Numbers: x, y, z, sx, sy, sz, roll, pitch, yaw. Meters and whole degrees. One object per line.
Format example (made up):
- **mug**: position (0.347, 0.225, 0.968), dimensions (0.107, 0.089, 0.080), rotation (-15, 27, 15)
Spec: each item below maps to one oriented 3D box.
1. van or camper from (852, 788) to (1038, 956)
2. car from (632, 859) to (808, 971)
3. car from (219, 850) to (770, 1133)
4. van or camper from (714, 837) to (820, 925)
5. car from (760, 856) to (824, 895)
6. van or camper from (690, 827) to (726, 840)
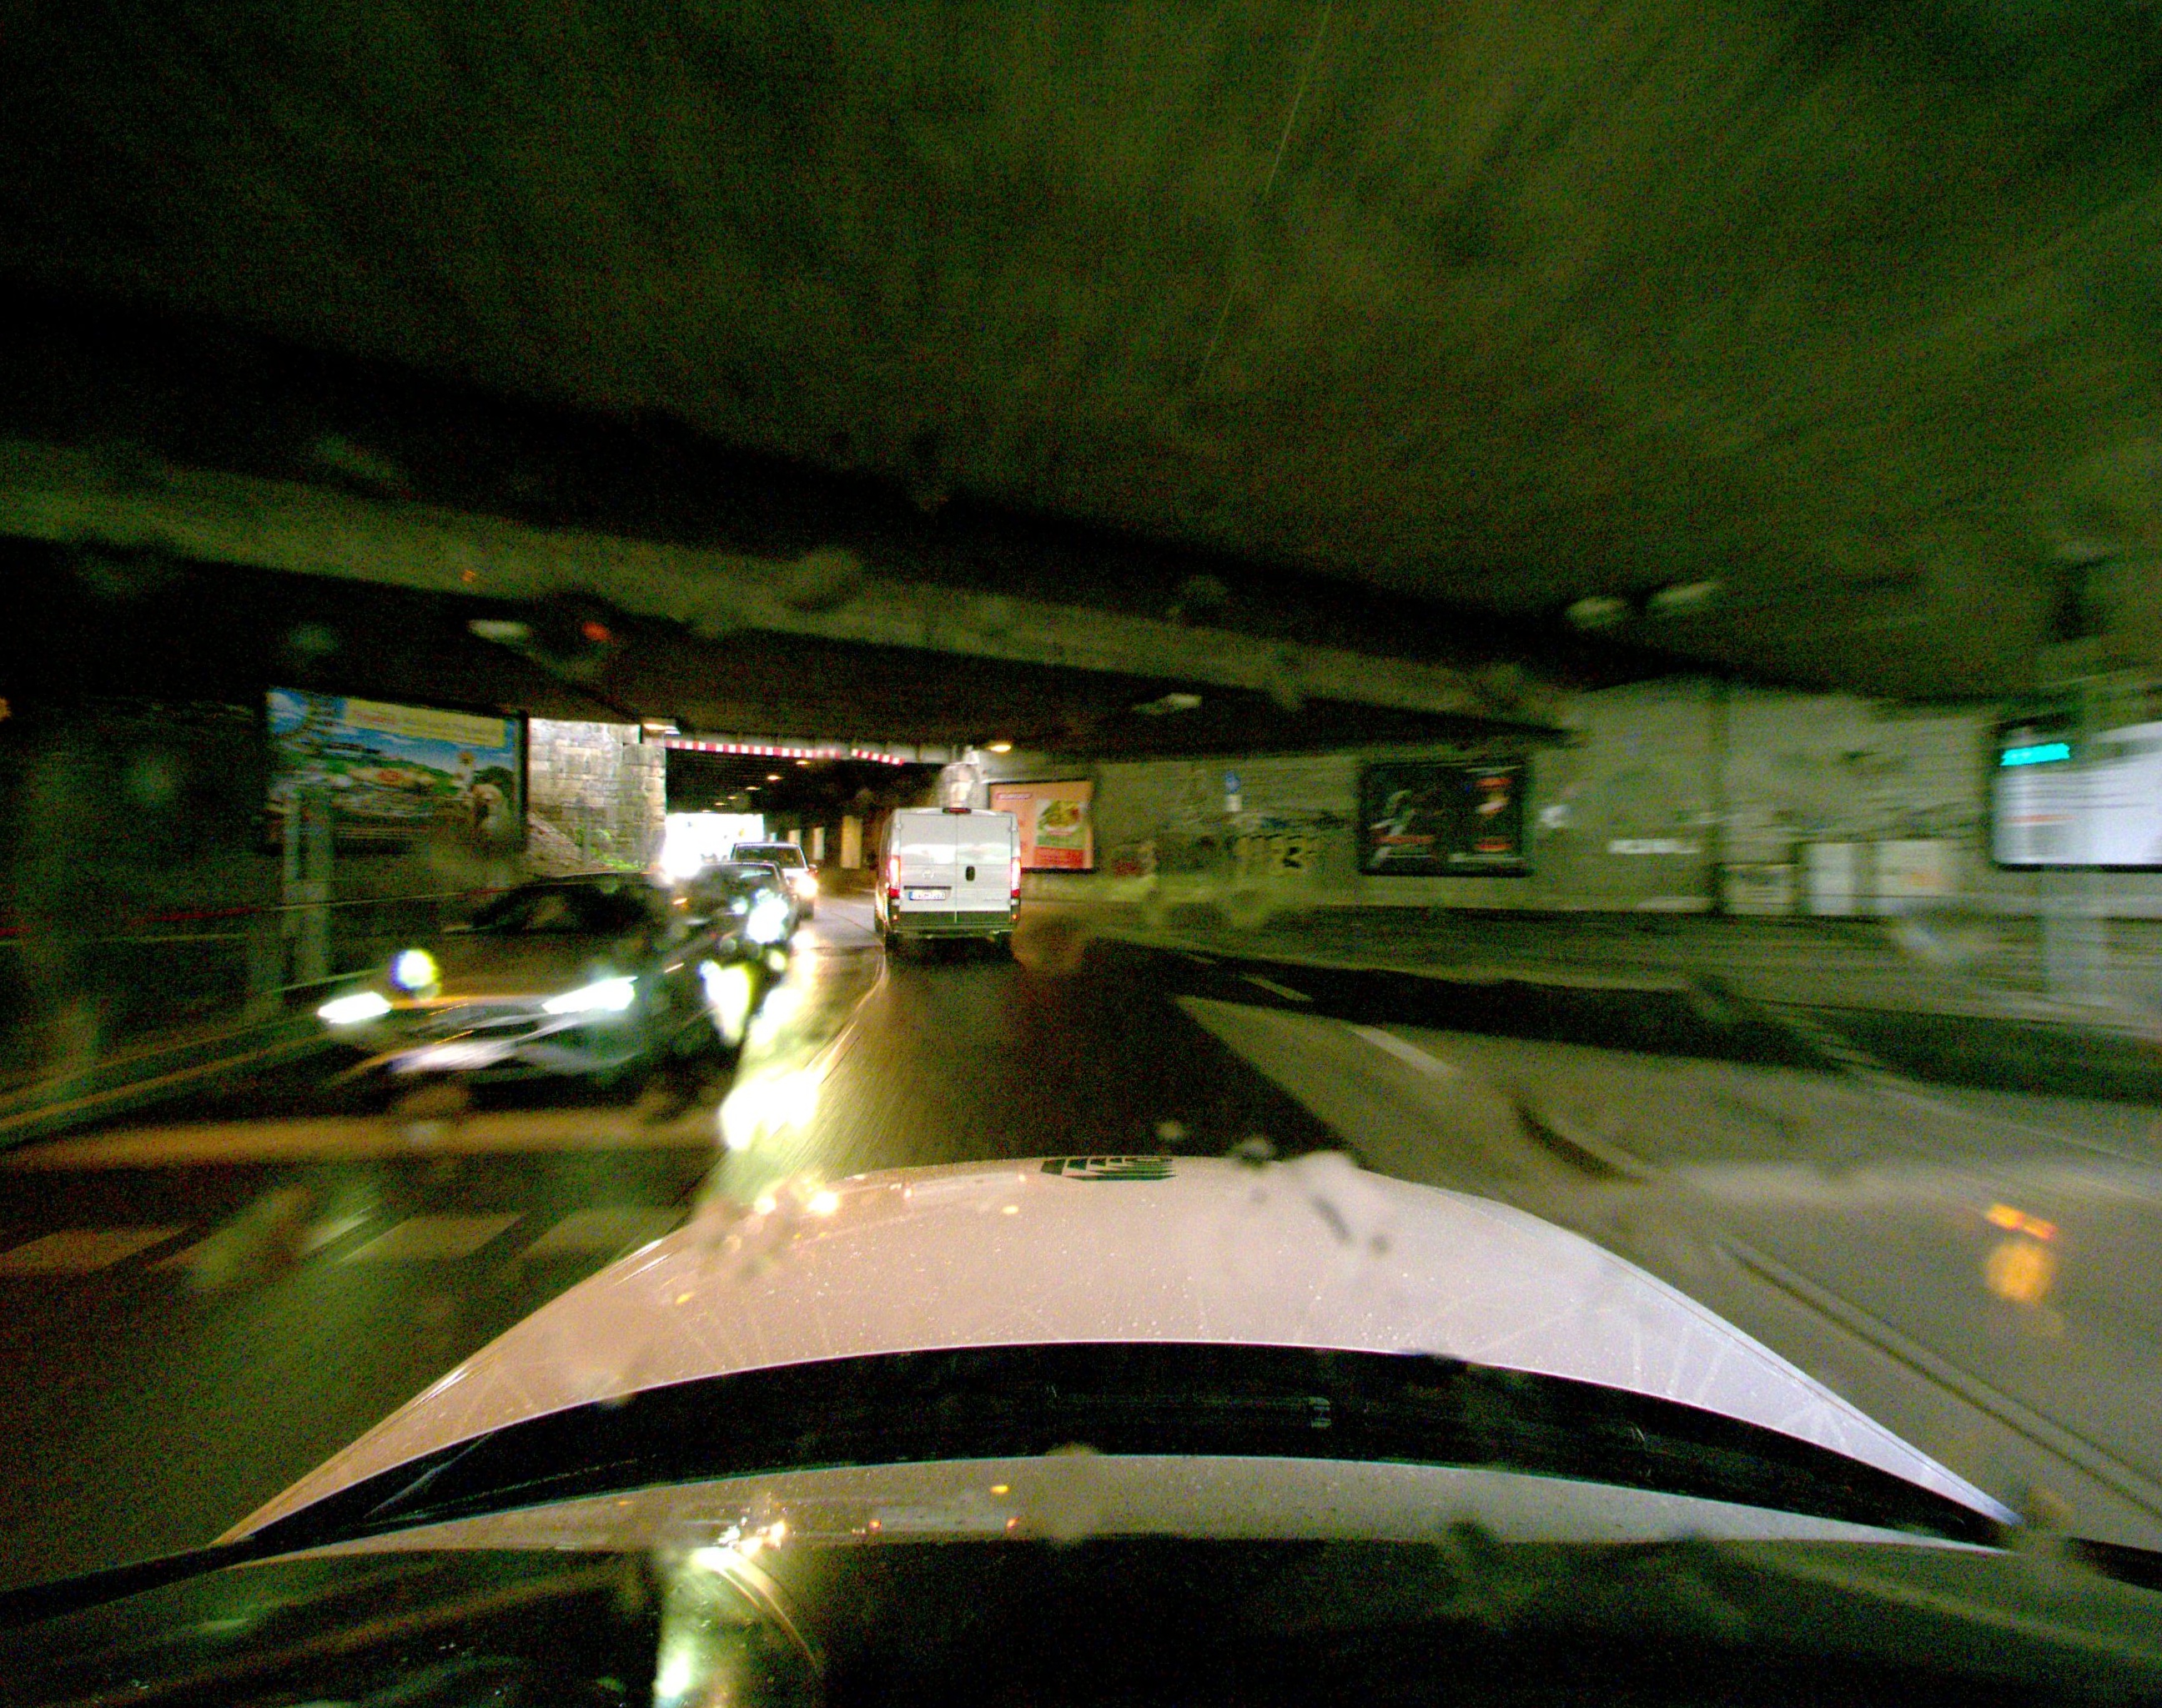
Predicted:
- **van or camper**: position (-2.568, 0.295, 14.427), dimensions (2.702, 2.417, 4.879), rotation (-1, -1, -14)
- **car**: position (-5.605, 0.829, 13.198), dimensions (1.997, 1.465, 4.083), rotation (-1, 0, -16)
- **car**: position (-4.166, 0.782, 6.911), dimensions (1.994, 1.530, 4.484), rotation (-1, 0, -10)
- **van or camper**: position (-7.907, 0.591, 20.210), dimensions (2.004, 1.868, 5.095), rotation (-1, 0, -26)
- **car**: position (-11.734, 0.806, 32.912), dimensions (1.847, 1.438, 4.066), rotation (-1, 0, -28)
- **van or camper**: position (-60.436, -3.286, 131.998), dimensions (5.334, 2.013, 2.061), rotation (0, 0, -25)
